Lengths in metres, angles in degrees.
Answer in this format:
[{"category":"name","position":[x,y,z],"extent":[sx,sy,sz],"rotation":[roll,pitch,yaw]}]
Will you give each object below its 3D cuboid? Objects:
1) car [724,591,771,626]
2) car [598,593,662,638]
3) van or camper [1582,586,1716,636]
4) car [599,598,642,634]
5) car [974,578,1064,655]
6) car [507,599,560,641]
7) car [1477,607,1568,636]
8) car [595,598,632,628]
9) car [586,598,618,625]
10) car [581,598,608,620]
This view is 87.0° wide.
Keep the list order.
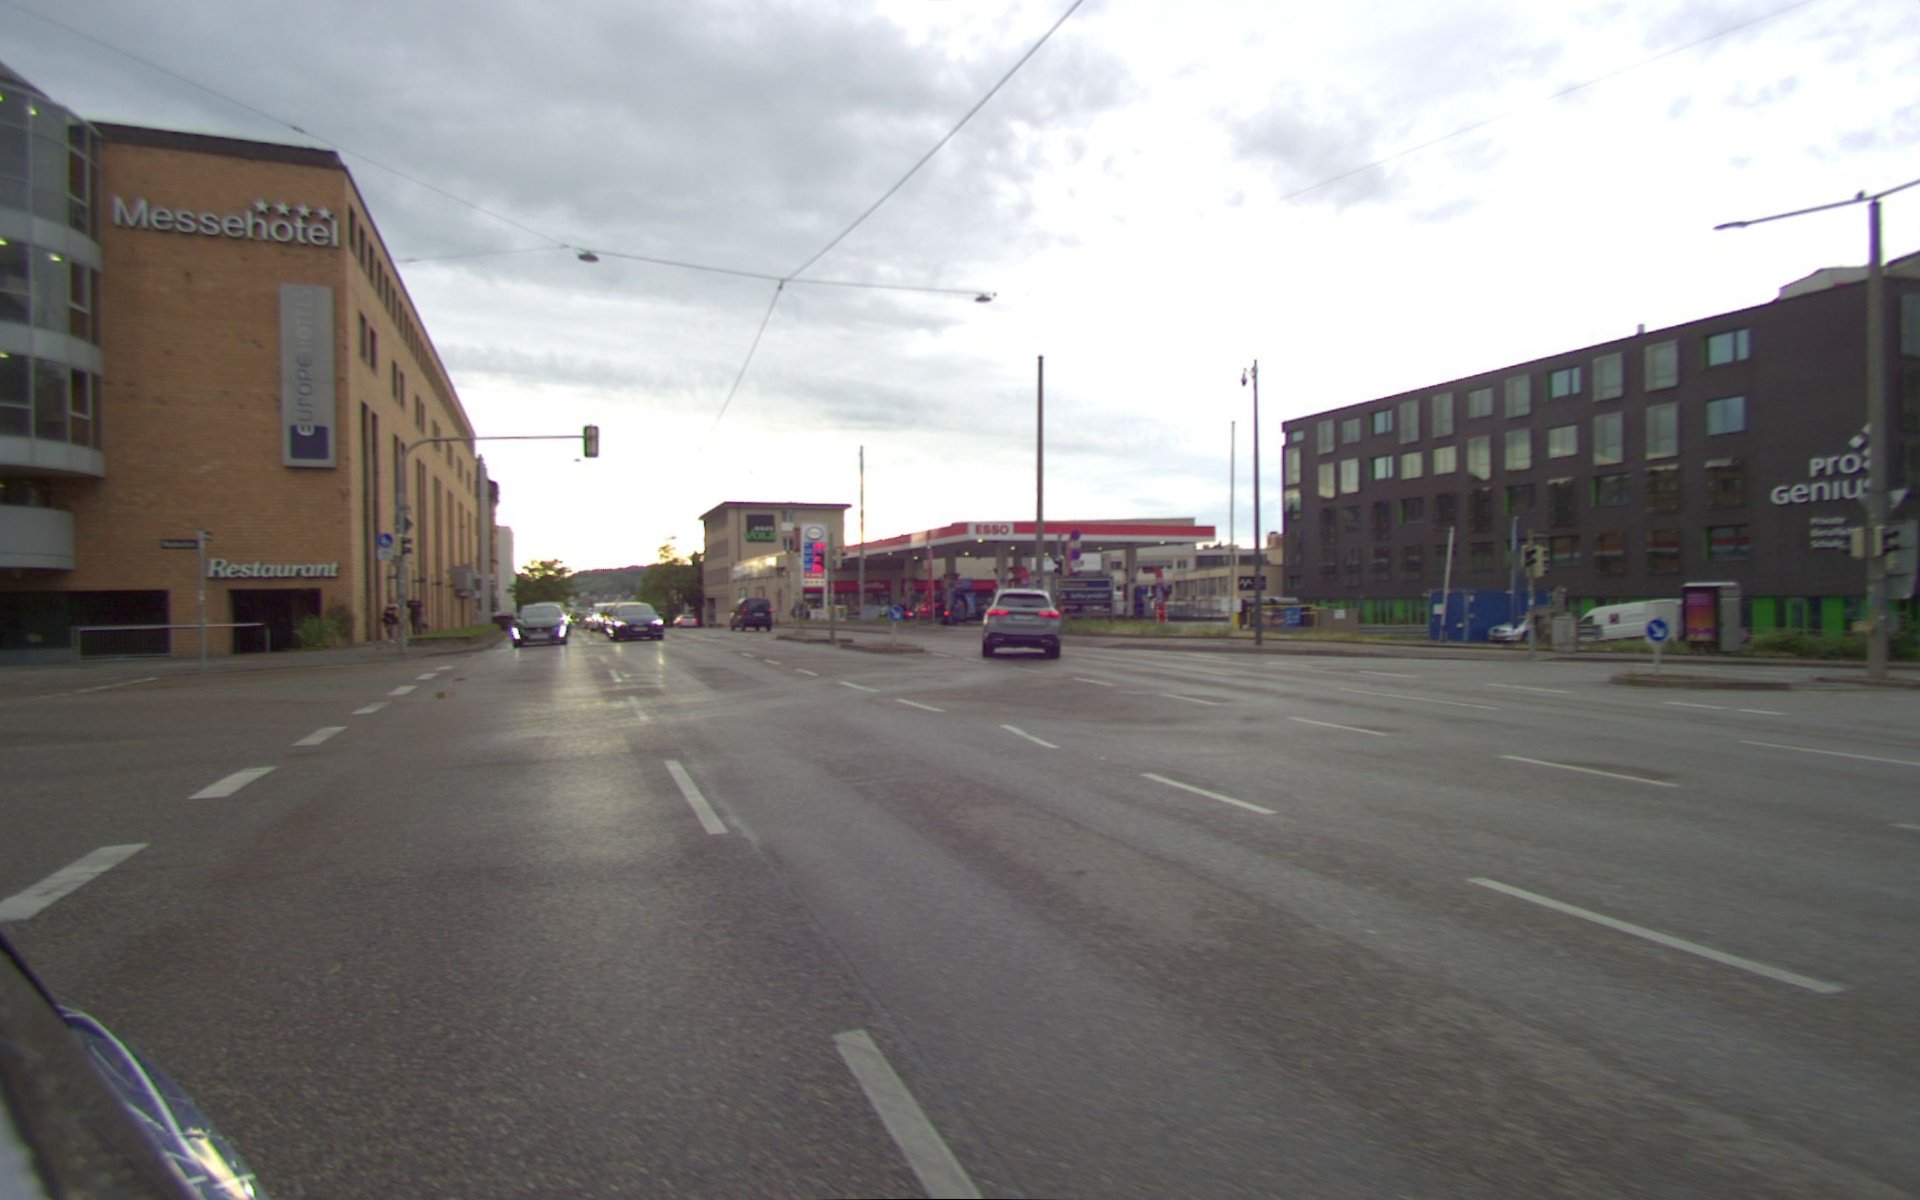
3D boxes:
[{"category":"car","position":[-11.737,0.459,55.632],"extent":[1.826,1.781,4.145],"rotation":[0,1,-22]},{"category":"car","position":[-12.568,0.539,38.349],"extent":[1.931,1.537,4.276],"rotation":[-2,1,-22]},{"category":"van or camper","position":[37.559,0.556,55.371],"extent":[2.691,2.386,5.366],"rotation":[1,2,-22]},{"category":"car","position":[-14.911,0.664,44.340],"extent":[1.669,1.411,4.102],"rotation":[-2,1,-20]},{"category":"car","position":[1.561,0.333,25.169],"extent":[1.892,1.644,4.201],"rotation":[2,2,8]},{"category":"car","position":[-15.177,0.674,36.166],"extent":[1.622,1.331,4.013],"rotation":[-2,1,-22]},{"category":"car","position":[28.671,1.106,51.584],"extent":[3.931,1.298,1.808],"rotation":[2,2,-18]},{"category":"car","position":[-17.500,0.627,51.056],"extent":[1.669,1.411,4.102],"rotation":[-2,1,-20]},{"category":"car","position":[-20.685,0.632,58.431],"extent":[1.669,1.411,4.102],"rotation":[-2,1,-20]},{"category":"car","position":[-25.697,0.630,71.139],"extent":[1.669,1.411,4.102],"rotation":[-2,1,-20]}]
